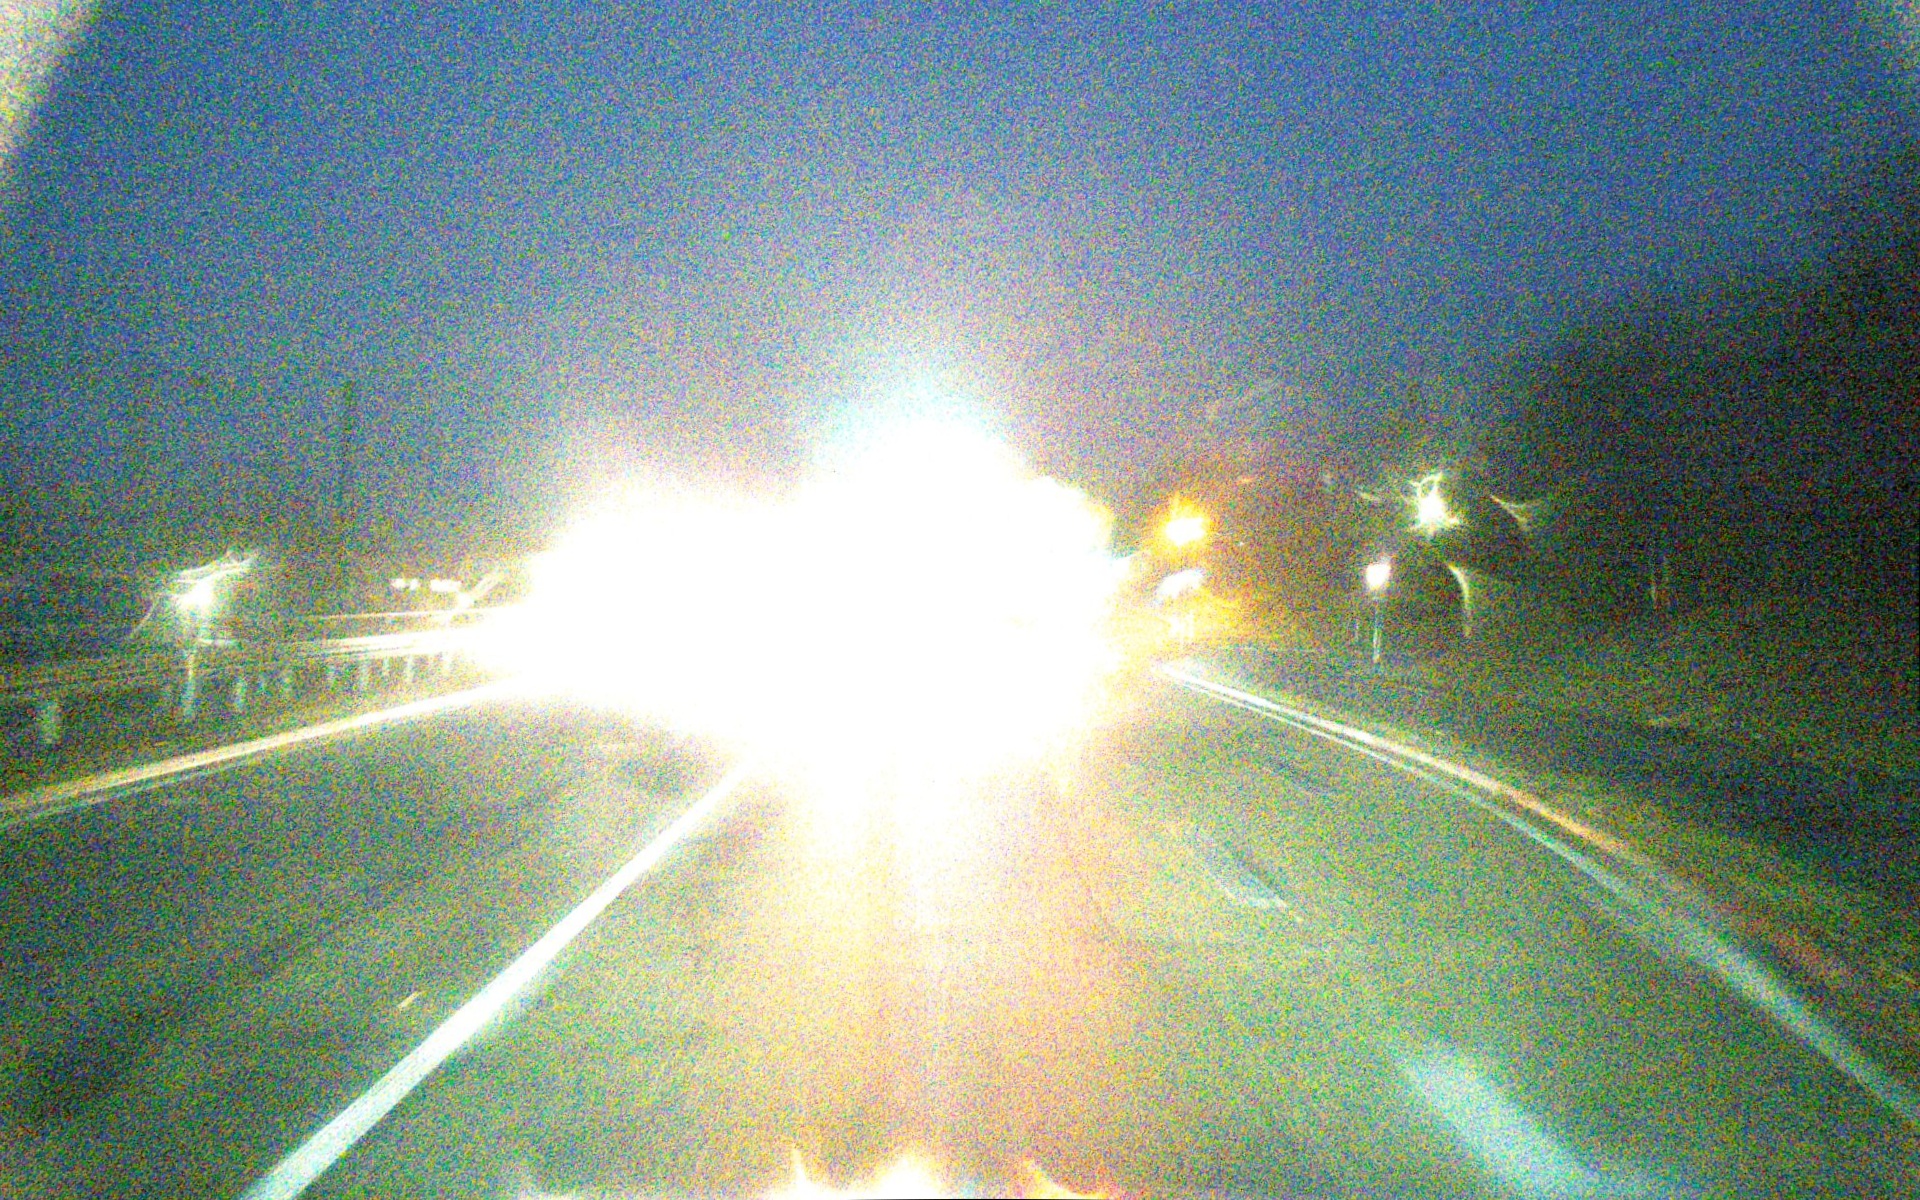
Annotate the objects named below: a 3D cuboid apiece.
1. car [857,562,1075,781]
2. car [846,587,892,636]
[{"bbox_3d":[-0.021,0.586,15.321,1.739,1.742,3.998,1,0,-2],"label":"car"},{"bbox_3d":[-4.137,0.553,74.651,1.955,2.049,3.995,0,-2,-5],"label":"car"}]
